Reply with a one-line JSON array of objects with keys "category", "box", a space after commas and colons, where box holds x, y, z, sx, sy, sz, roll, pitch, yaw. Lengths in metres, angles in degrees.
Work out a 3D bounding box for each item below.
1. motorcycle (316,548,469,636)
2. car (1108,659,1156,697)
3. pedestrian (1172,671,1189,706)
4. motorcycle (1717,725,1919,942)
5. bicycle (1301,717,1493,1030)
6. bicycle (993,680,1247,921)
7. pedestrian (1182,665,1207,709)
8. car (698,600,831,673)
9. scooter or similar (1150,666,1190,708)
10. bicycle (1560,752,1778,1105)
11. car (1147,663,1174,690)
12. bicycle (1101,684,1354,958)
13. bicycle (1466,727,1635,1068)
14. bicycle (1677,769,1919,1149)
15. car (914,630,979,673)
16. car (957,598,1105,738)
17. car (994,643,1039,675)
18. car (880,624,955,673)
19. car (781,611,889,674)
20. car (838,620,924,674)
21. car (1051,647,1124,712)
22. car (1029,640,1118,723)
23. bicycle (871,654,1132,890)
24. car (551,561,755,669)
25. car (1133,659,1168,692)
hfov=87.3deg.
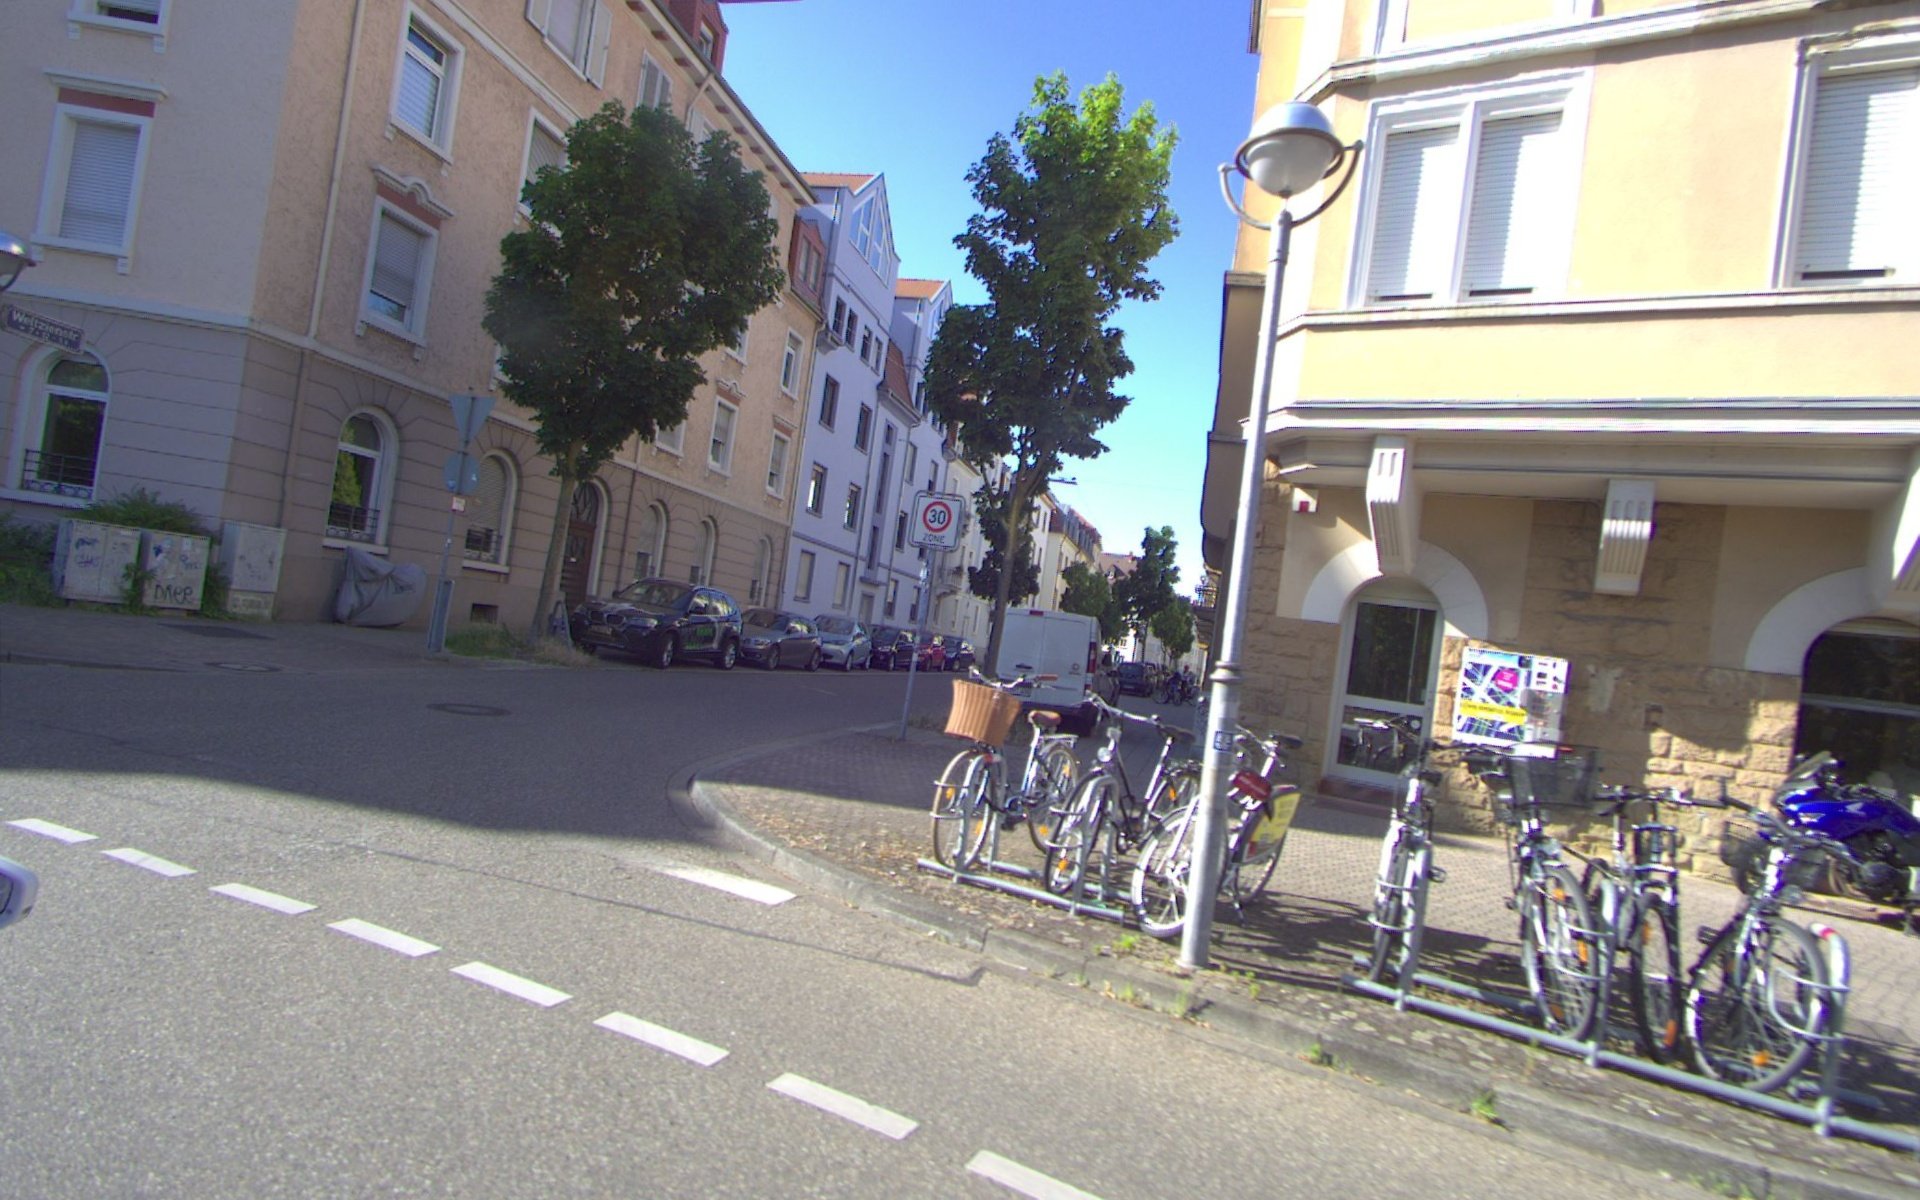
[{"category": "motorcycle", "box": [-9.764, -0.094, 17.422, 0.925, 1.234, 2.156, 9, -1, 15]}, {"category": "car", "box": [7.838, 3.544, 45.757, 1.607, 1.444, 3.338, 7, -2, 17]}, {"category": "pedestrian", "box": [9.146, 3.664, 41.717, 0.528, 1.346, 0.556, 9, -1, 13]}, {"category": "motorcycle", "box": [7.542, 1.923, 7.970, 2.212, 1.428, 0.699, 9, 1, 29]}, {"category": "bicycle", "box": [2.190, 1.196, 4.911, 0.606, 1.158, 1.696, 7, -2, 28]}, {"category": "bicycle", "box": [0.997, 1.086, 5.780, 0.528, 1.102, 1.874, 7, -2, 36]}, {"category": "pedestrian", "box": [9.702, 3.586, 41.656, 0.755, 1.680, 0.774, 9, -1, 13]}, {"category": "car", "box": [-4.762, 0.954, 24.996, 1.669, 1.427, 3.668, 8, -2, 15]}, {"category": "scooter or similar", "box": [8.172, 3.385, 39.173, 1.309, 1.396, 1.354, 9, -1, 13]}, {"category": "bicycle", "box": [3.059, 1.306, 4.471, 0.475, 1.136, 1.696, 7, -2, 28]}, {"category": "car", "box": [15.005, 5.720, 75.328, 1.482, 1.766, 3.338, 7, -2, 17]}, {"category": "bicycle", "box": [1.503, 1.111, 5.424, 0.628, 1.158, 1.692, 6, -2, 36]}, {"category": "bicycle", "box": [2.680, 1.229, 4.651, 0.444, 1.205, 1.696, 7, -2, 28]}, {"category": "bicycle", "box": [3.492, 1.358, 4.268, 0.475, 1.136, 1.717, 7, -2, 31]}, {"category": "car", "box": [-0.531, 2.264, 43.384, 1.669, 1.542, 3.775, 8, -2, 15]}, {"category": "car", "box": [1.447, 1.220, 18.258, 2.101, 1.930, 4.568, 8, -2, 9]}, {"category": "car", "box": [3.287, 3.424, 57.750, 1.669, 1.542, 3.775, 8, -2, 15]}, {"category": "car", "box": [-1.586, 1.924, 39.007, 1.669, 1.542, 3.775, 8, -2, 15]}, {"category": "car", "box": [-3.661, 1.325, 30.180, 1.669, 1.502, 4.009, 8, -2, 15]}, {"category": "car", "box": [-2.660, 1.665, 34.849, 1.669, 1.502, 3.775, 8, -2, 15]}, {"category": "car", "box": [3.581, 2.180, 27.800, 1.607, 1.444, 3.339, 8, -2, 11]}, {"category": "car", "box": [2.759, 1.899, 23.745, 1.607, 1.590, 3.744, 8, -2, 11]}, {"category": "bicycle", "box": [0.338, 0.996, 6.141, 0.688, 1.142, 1.866, 6, -3, 30]}, {"category": "car", "box": [-5.923, 0.400, 20.070, 1.873, 1.660, 4.354, 8, -2, 11]}, {"category": "car", "box": [11.737, 4.669, 61.908, 1.607, 1.766, 3.338, 7, -2, 17]}]
